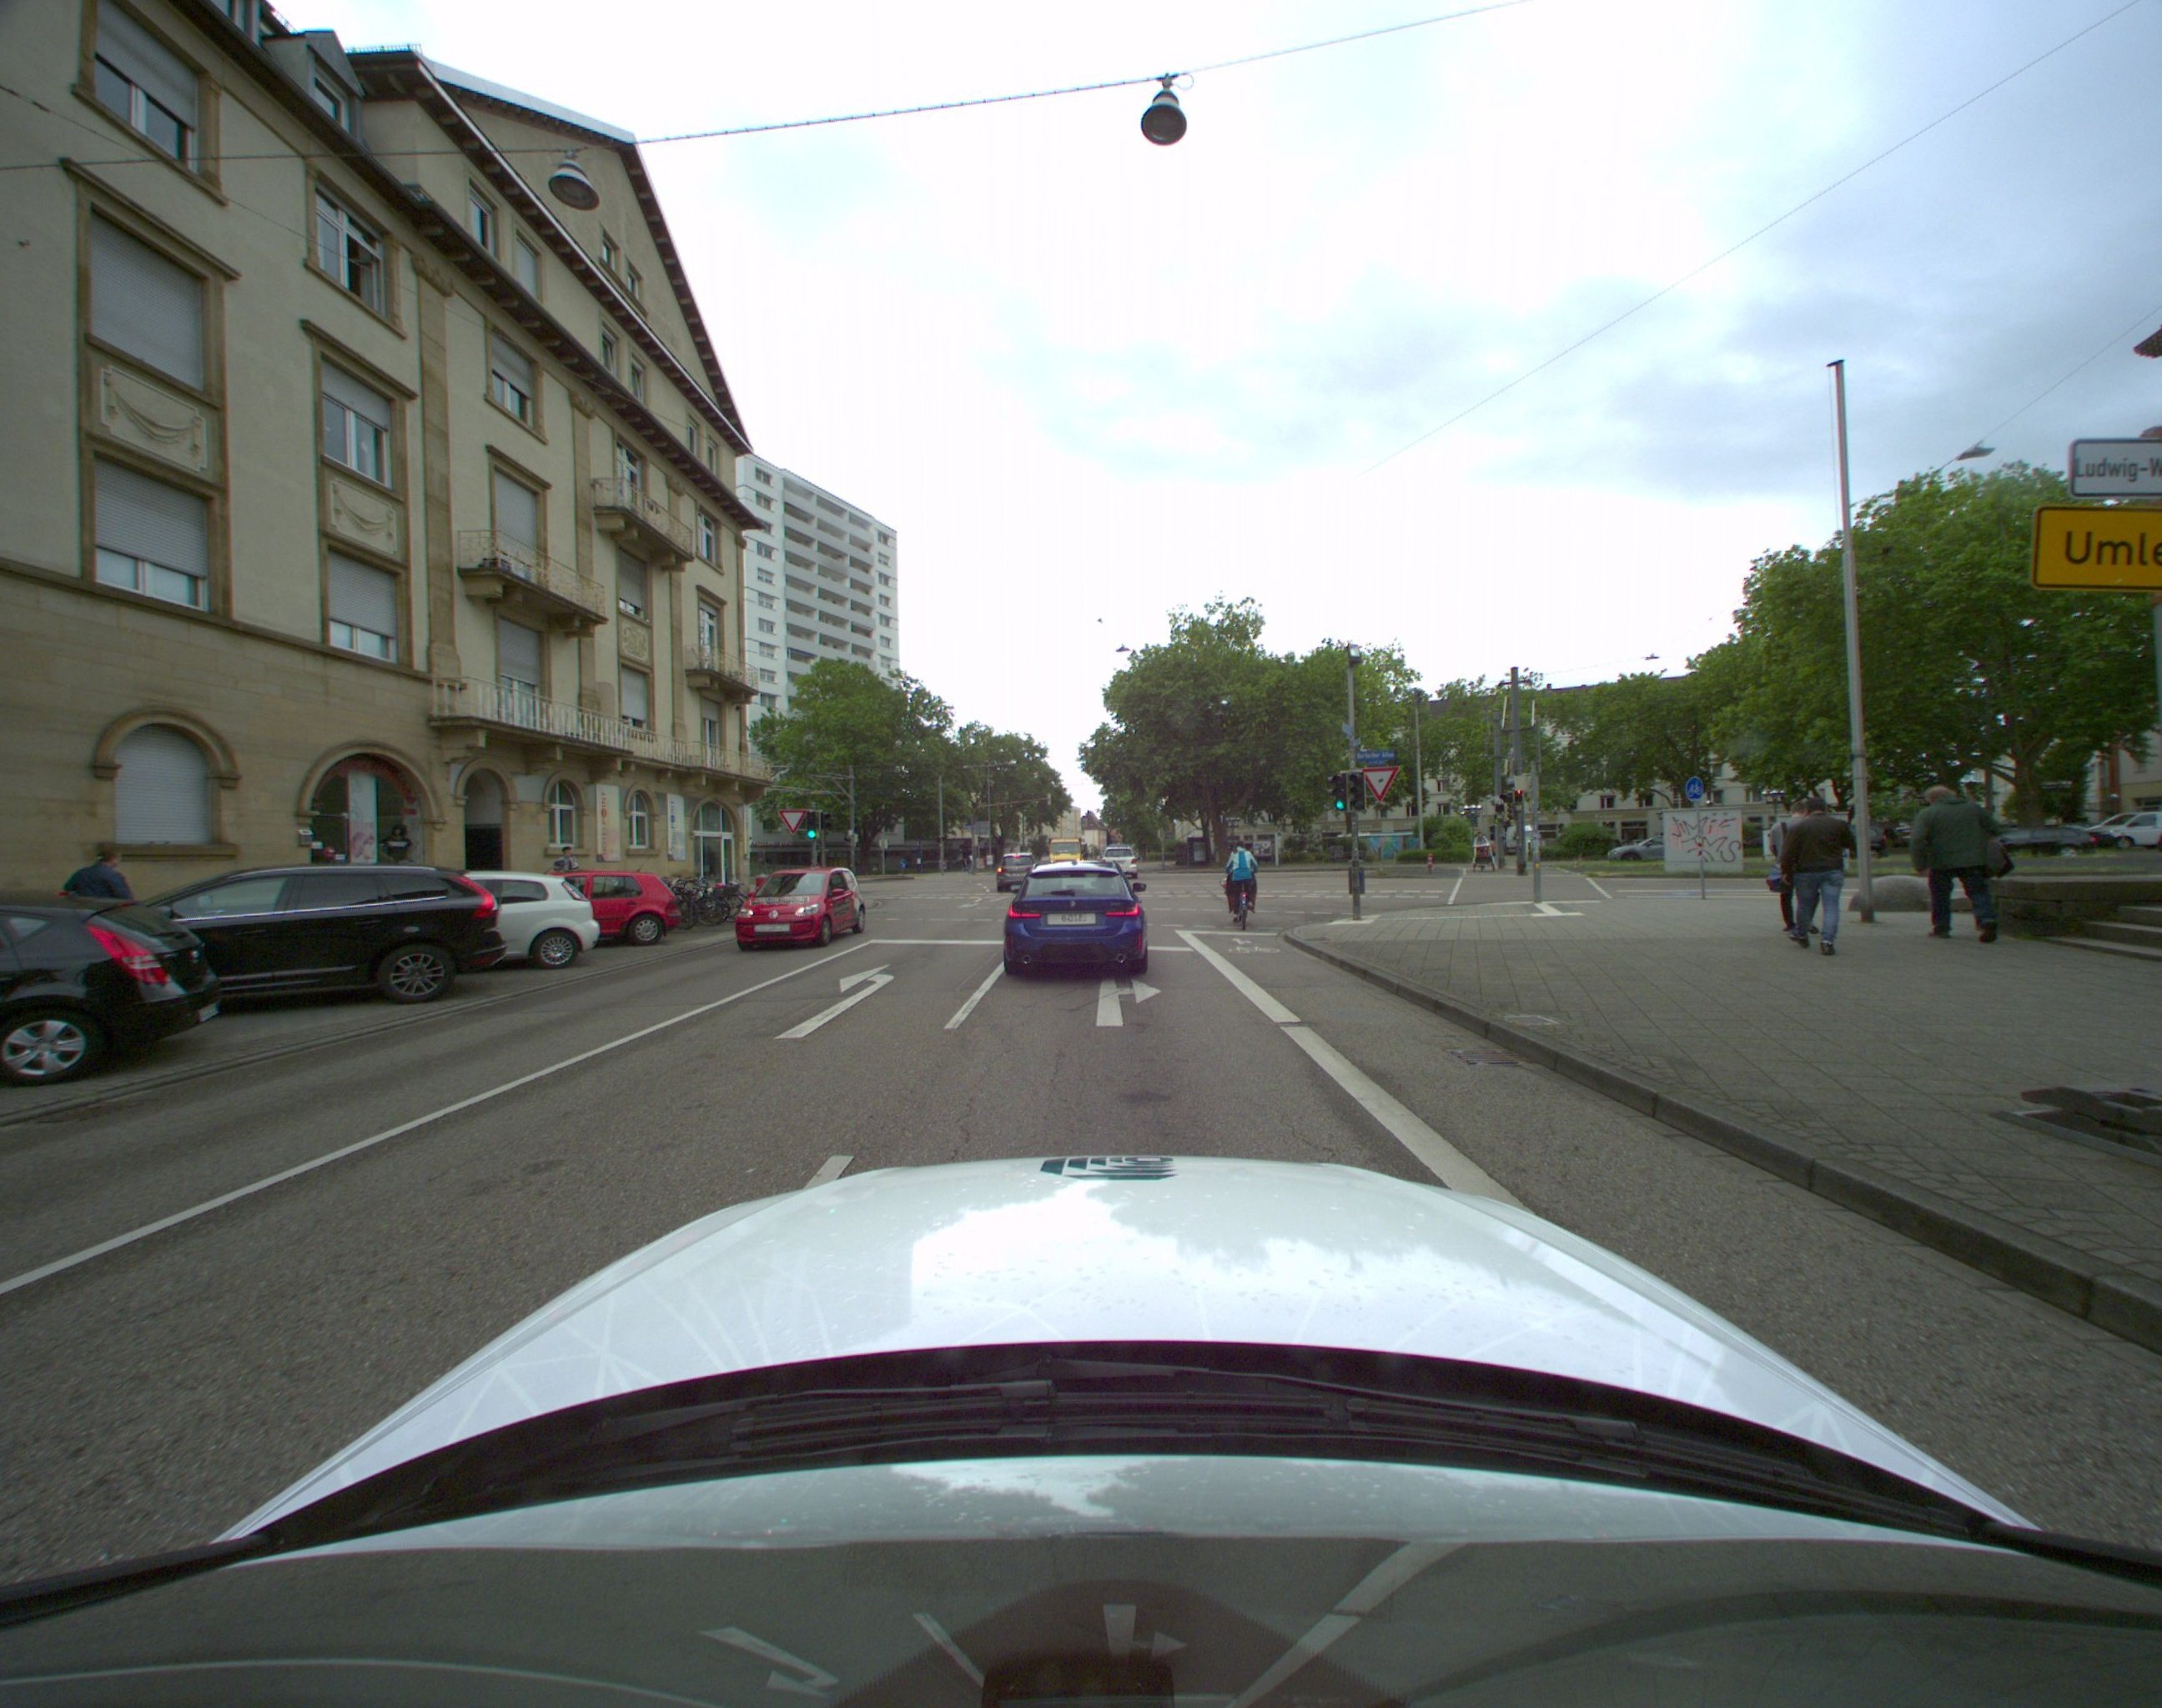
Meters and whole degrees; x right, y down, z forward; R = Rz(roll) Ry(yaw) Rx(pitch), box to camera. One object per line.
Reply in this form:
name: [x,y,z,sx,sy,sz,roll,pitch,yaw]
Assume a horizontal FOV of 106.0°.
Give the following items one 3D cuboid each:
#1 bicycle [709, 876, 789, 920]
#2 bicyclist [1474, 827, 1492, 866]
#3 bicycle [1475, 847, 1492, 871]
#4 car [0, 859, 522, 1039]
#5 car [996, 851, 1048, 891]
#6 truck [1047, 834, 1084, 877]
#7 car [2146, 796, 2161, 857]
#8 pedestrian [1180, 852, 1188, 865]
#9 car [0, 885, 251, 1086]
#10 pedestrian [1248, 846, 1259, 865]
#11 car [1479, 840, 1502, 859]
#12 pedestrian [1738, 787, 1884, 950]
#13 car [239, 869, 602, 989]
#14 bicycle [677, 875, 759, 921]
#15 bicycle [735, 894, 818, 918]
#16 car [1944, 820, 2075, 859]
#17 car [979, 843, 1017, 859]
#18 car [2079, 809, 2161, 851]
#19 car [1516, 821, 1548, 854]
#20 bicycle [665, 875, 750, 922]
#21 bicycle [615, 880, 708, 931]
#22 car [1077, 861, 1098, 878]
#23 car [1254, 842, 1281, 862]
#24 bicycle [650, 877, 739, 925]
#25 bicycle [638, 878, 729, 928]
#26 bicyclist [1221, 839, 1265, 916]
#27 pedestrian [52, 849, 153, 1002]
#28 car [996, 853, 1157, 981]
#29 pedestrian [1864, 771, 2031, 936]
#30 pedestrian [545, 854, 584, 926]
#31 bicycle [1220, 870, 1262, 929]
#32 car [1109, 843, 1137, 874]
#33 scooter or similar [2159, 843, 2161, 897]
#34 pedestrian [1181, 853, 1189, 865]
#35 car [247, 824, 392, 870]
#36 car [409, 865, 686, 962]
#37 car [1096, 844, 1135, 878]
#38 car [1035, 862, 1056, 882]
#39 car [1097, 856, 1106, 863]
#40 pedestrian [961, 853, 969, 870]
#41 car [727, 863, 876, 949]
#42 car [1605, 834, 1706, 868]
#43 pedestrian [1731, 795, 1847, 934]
bicycle: [-8.861,1.160,21.737,1.880,1.035,0.442,4,0,-1]
bicyclist: [17.599,-0.318,35.667,0.608,1.654,0.758,-2,0,23]
bicycle: [17.595,0.205,35.602,0.546,0.995,2.073,-2,0,24]
car: [-9.369,0.932,9.751,4.248,1.651,1.711,-1,0,-41]
car: [-2.452,0.678,34.622,1.726,1.525,4.002,-2,0,2]
truck: [-0.895,0.064,50.108,2.068,2.408,5.461,-2,0,0]
car: [47.676,-1.243,32.747,5.541,2.538,2.004,-2,-1,25]
pedestrian: [11.766,0.522,92.841,0.814,1.372,0.763,-2,0,2]
car: [-9.628,1.075,6.448,4.017,1.494,1.713,-1,0,-36]
pedestrian: [15.741,0.125,74.481,0.781,1.743,0.925,-2,0,0]
car: [34.972,-0.436,69.504,1.649,1.515,3.962,-2,0,28]
pedestrian: [8.135,0.157,9.124,0.672,1.685,0.969,-4,0,2]
car: [-9.672,0.992,12.255,4.021,1.472,1.546,1,0,-41]
bicycle: [-9.442,1.141,21.204,1.880,1.035,0.442,4,0,-1]
bicycle: [-8.490,1.446,22.767,1.880,0.445,1.029,4,2,-1]
car: [41.083,-0.604,36.140,3.424,1.561,1.697,-2,-1,25]
car: [-9.667,-0.341,95.040,4.014,1.706,1.980,-1,-1,-32]
car: [55.706,-1.272,41.933,5.025,2.096,2.004,-2,-1,25]
car: [38.331,-1.362,69.321,2.214,2.639,5.480,-2,0,28]
bicycle: [-9.428,1.123,20.568,1.880,1.035,0.442,4,0,-1]
bicycle: [-9.554,1.163,18.555,1.877,1.035,0.443,3,0,4]
car: [0.632,1.445,76.533,1.801,1.427,4.320,-2,0,3]
car: [21.970,-0.269,95.988,2.154,2.200,4.024,-2,0,26]
bicycle: [-9.432,1.144,19.905,1.880,1.035,0.442,4,0,-1]
bicycle: [-9.436,1.161,19.369,1.880,1.035,0.442,4,0,-1]
bicyclist: [3.330,0.475,16.856,0.683,1.517,1.059,-2,0,2]
pedestrian: [-12.946,0.924,10.787,0.616,1.958,0.551,-2,0,3]
car: [0.022,0.726,11.561,1.808,1.405,4.322,-2,0,2]
pedestrian: [9.976,-0.009,9.422,0.801,1.758,0.969,-4,0,2]
pedestrian: [-13.195,0.908,20.813,0.564,1.785,0.551,-2,0,3]
bicycle: [3.343,0.909,17.116,0.492,1.098,2.140,-2,0,2]
car: [2.845,0.266,56.127,1.808,2.005,4.002,-2,0,2]
scooter or similar: [21.303,0.297,15.585,0.763,1.053,0.241,-2,0,27]
pedestrian: [11.749,0.555,91.857,0.850,1.314,0.763,-2,0,2]
car: [-14.908,-0.124,16.043,0.910,0.834,2.015,-1,-1,2]
car: [-9.759,0.982,15.133,1.663,1.472,4.024,0,0,43]
car: [1.743,0.344,41.626,1.808,1.592,4.002,-2,0,2]
car: [-3.933,1.982,90.850,1.913,2.013,3.938,-2,0,2]
car: [4.625,1.210,184.279,1.846,1.453,4.169,-2,0,2]
pedestrian: [-12.147,0.820,85.409,0.571,1.785,0.622,-2,0,10]
car: [-5.472,0.954,16.405,1.643,1.447,3.513,-2,0,2]
car: [29.367,-0.152,41.771,3.940,1.561,1.697,-2,-1,25]
pedestrian: [9.118,0.124,10.534,0.629,1.673,0.971,-4,0,8]
